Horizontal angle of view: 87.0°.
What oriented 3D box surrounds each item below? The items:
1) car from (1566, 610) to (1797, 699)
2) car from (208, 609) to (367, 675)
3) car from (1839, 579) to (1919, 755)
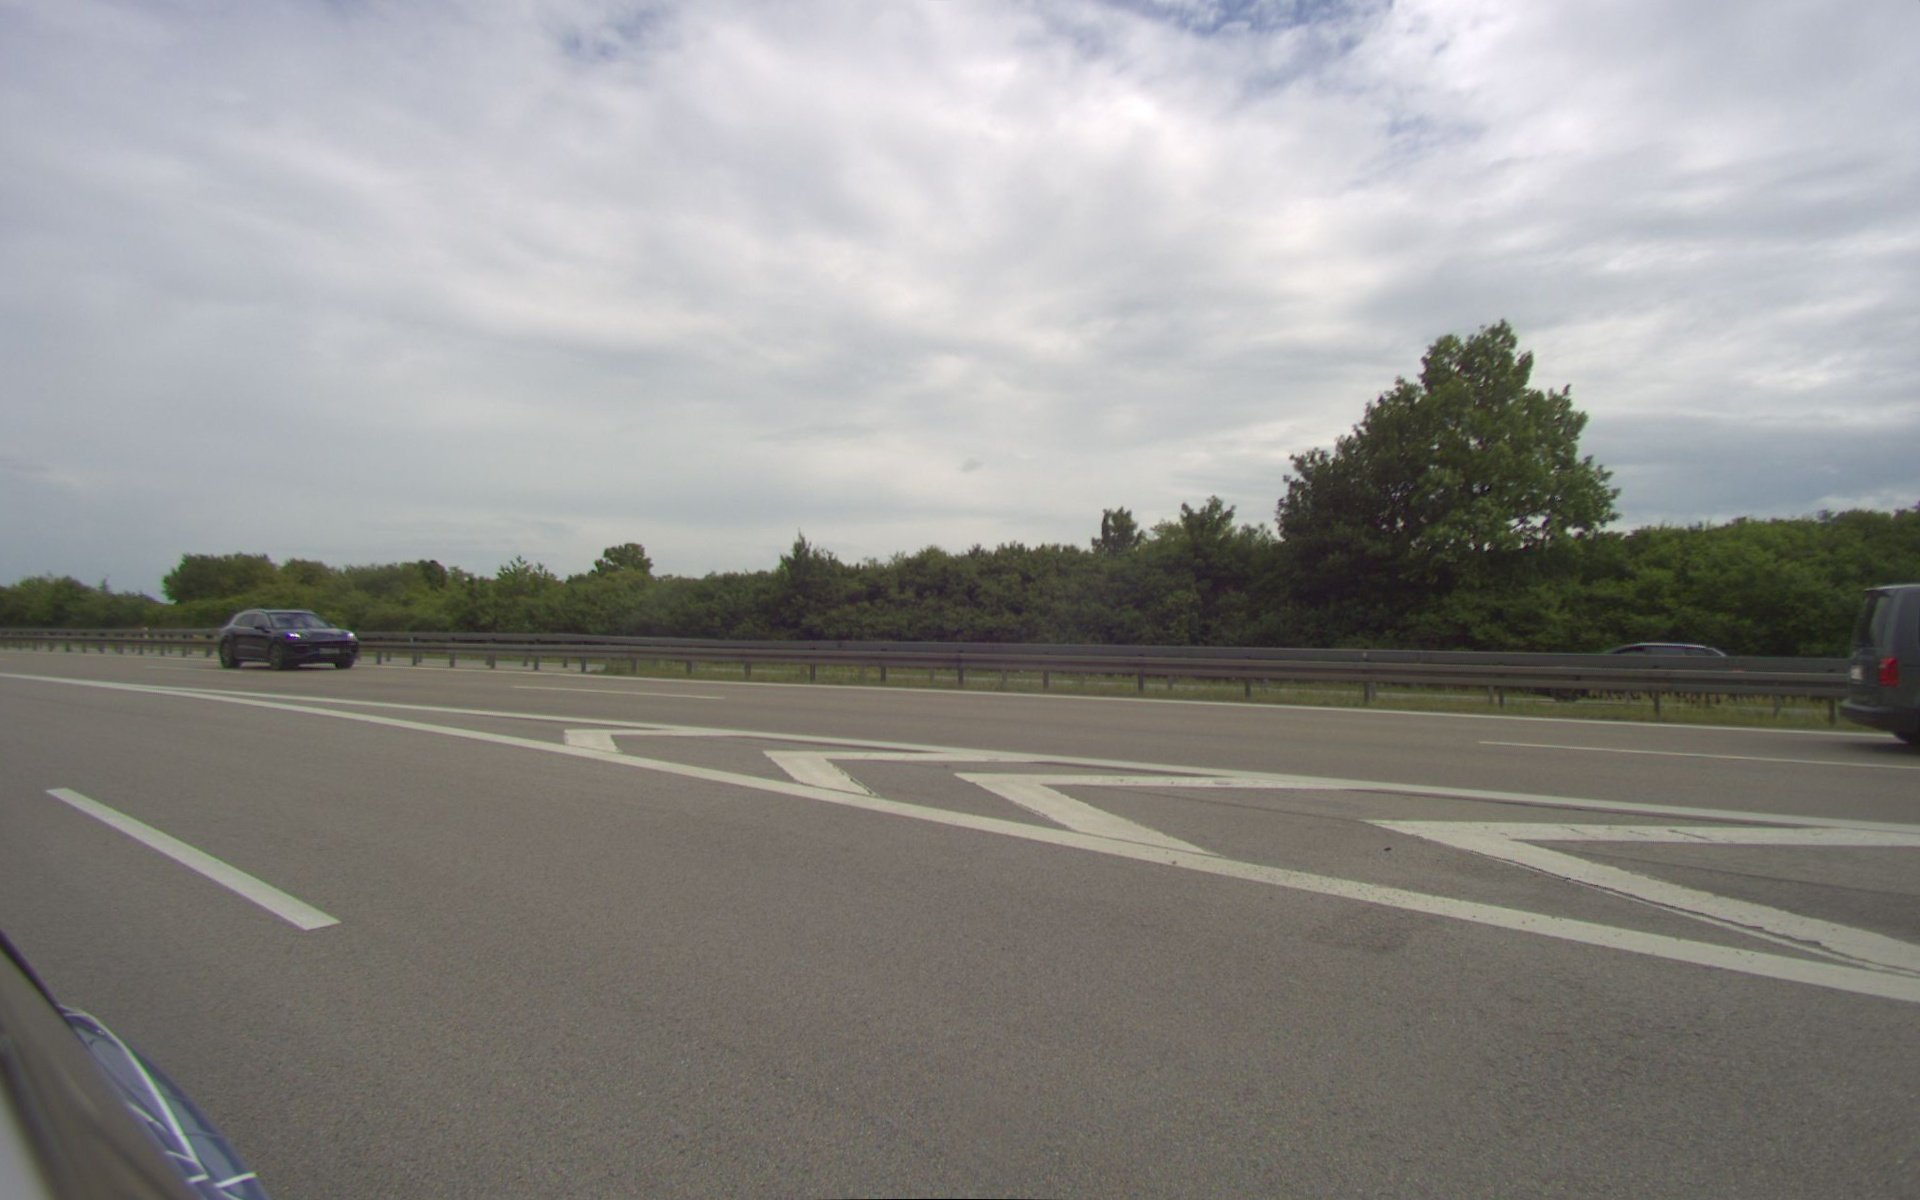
[{"bbox_3d":[15.748,1.157,22.396,3.986,1.816,1.978,-1,-2,32],"label":"car"},{"bbox_3d":[-19.351,1.179,29.086,4.813,1.756,1.978,-1,-3,32],"label":"car"},{"bbox_3d":[11.741,0.672,9.991,4.321,1.772,1.831,-1,-2,32],"label":"car"}]
